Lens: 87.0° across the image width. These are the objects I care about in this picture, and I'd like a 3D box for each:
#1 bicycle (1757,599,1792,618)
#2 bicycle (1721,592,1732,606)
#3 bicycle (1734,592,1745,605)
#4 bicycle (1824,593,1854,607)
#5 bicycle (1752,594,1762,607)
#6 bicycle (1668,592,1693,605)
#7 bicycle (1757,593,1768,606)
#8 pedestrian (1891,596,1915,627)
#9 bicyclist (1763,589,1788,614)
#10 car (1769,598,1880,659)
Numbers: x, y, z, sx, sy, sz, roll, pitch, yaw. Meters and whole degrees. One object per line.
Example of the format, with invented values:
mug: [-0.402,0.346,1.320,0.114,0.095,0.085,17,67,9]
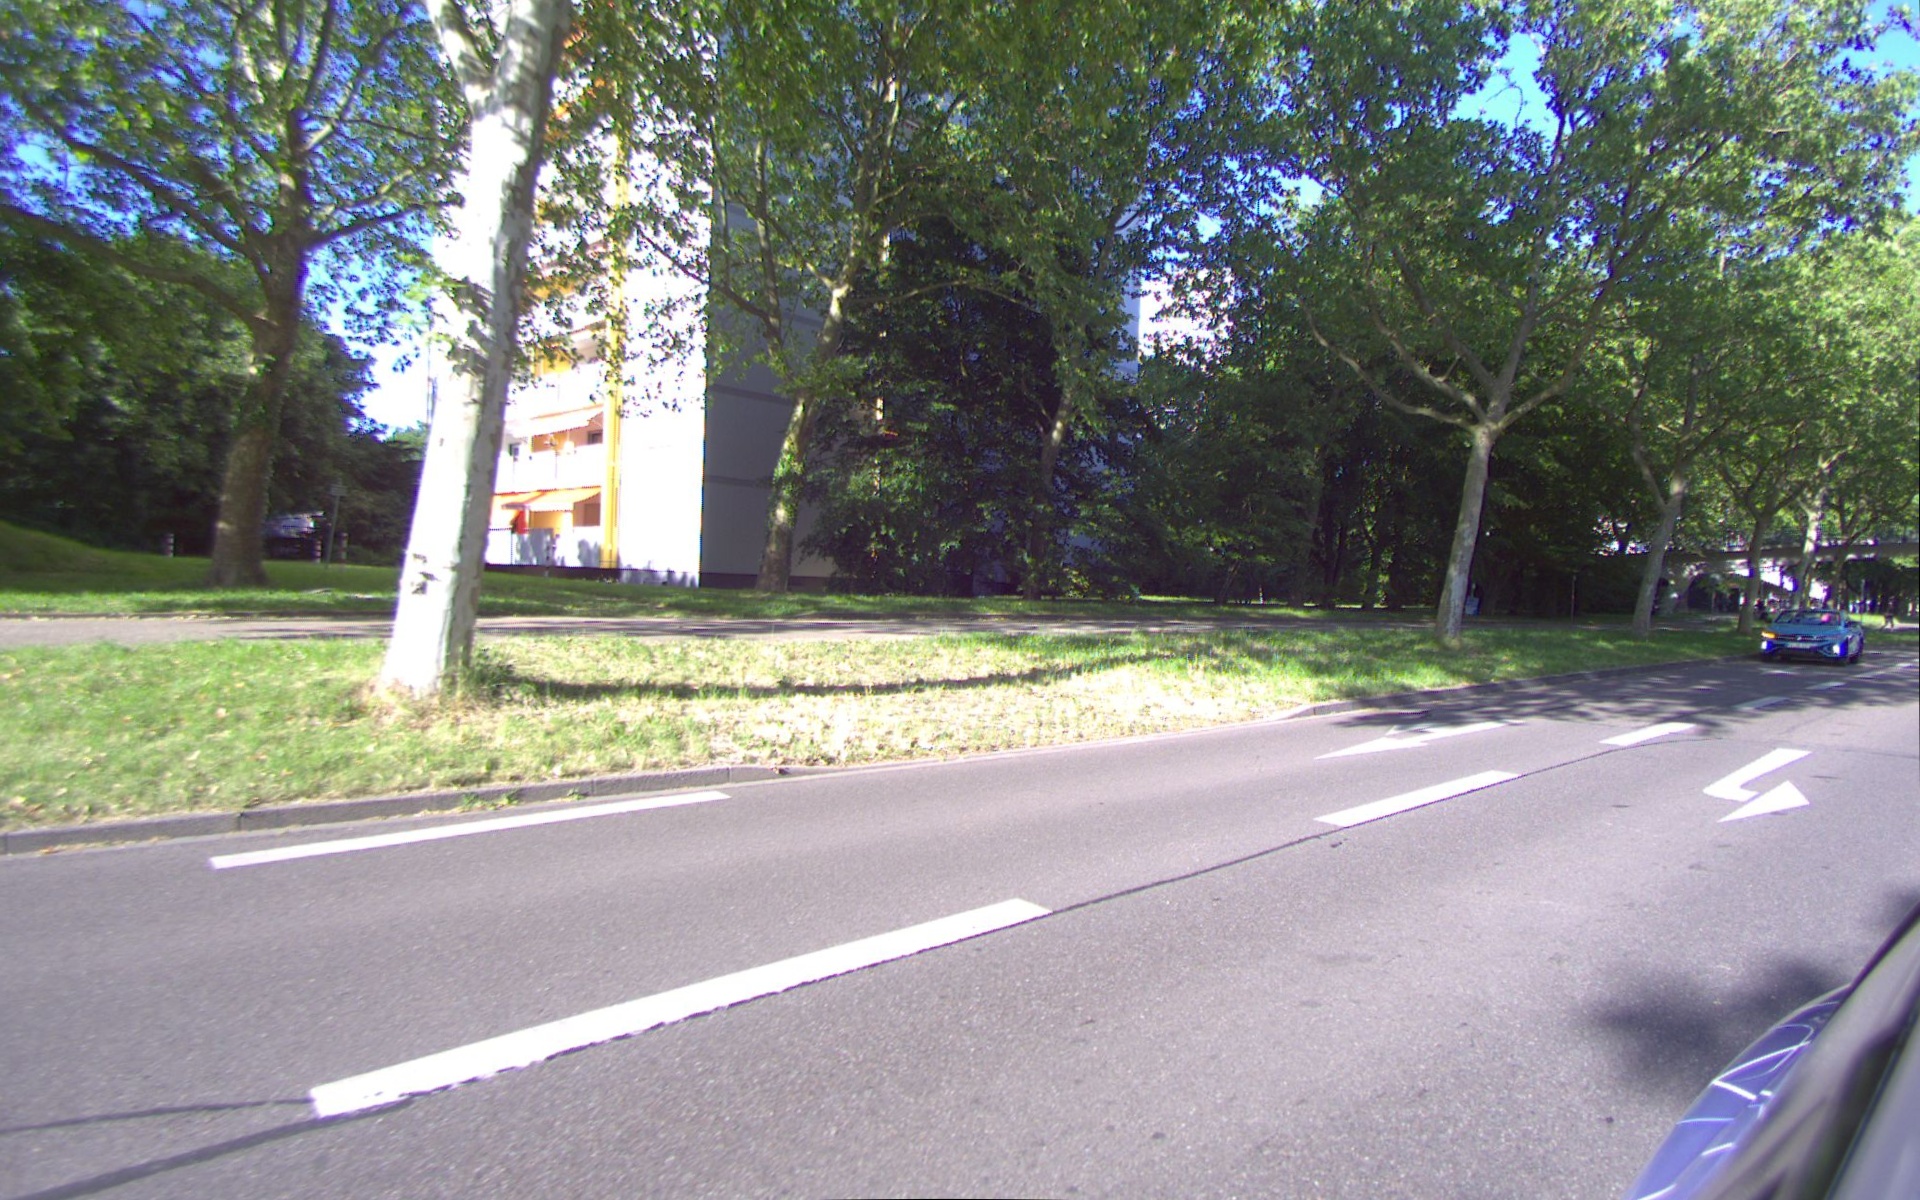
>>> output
bicycle: [56.829,0.555,70.633,0.798,1.160,1.840,4,3,-6]
bicycle: [71.748,-0.122,94.724,1.776,1.269,0.576,0,1,-44]
bicycle: [78.849,-0.178,102.386,1.776,1.269,0.576,0,1,-44]
bicycle: [83.220,0.013,95.837,2.063,1.172,0.554,4,3,38]
bicycle: [78.062,0.058,99.113,1.776,1.269,0.576,0,1,-44]
bicycle: [68.320,-0.180,95.962,1.799,1.129,0.700,4,4,41]
bicycle: [81.383,-0.078,102.640,1.776,1.269,0.576,0,1,-44]
pedestrian: [56.297,0.691,60.421,0.725,1.800,0.661,3,0,-4]
bicyclist: [56.862,0.122,70.569,0.798,1.652,0.958,4,2,-6]
car: [23.572,0.743,27.559,4.029,1.502,1.778,1,0,-42]
